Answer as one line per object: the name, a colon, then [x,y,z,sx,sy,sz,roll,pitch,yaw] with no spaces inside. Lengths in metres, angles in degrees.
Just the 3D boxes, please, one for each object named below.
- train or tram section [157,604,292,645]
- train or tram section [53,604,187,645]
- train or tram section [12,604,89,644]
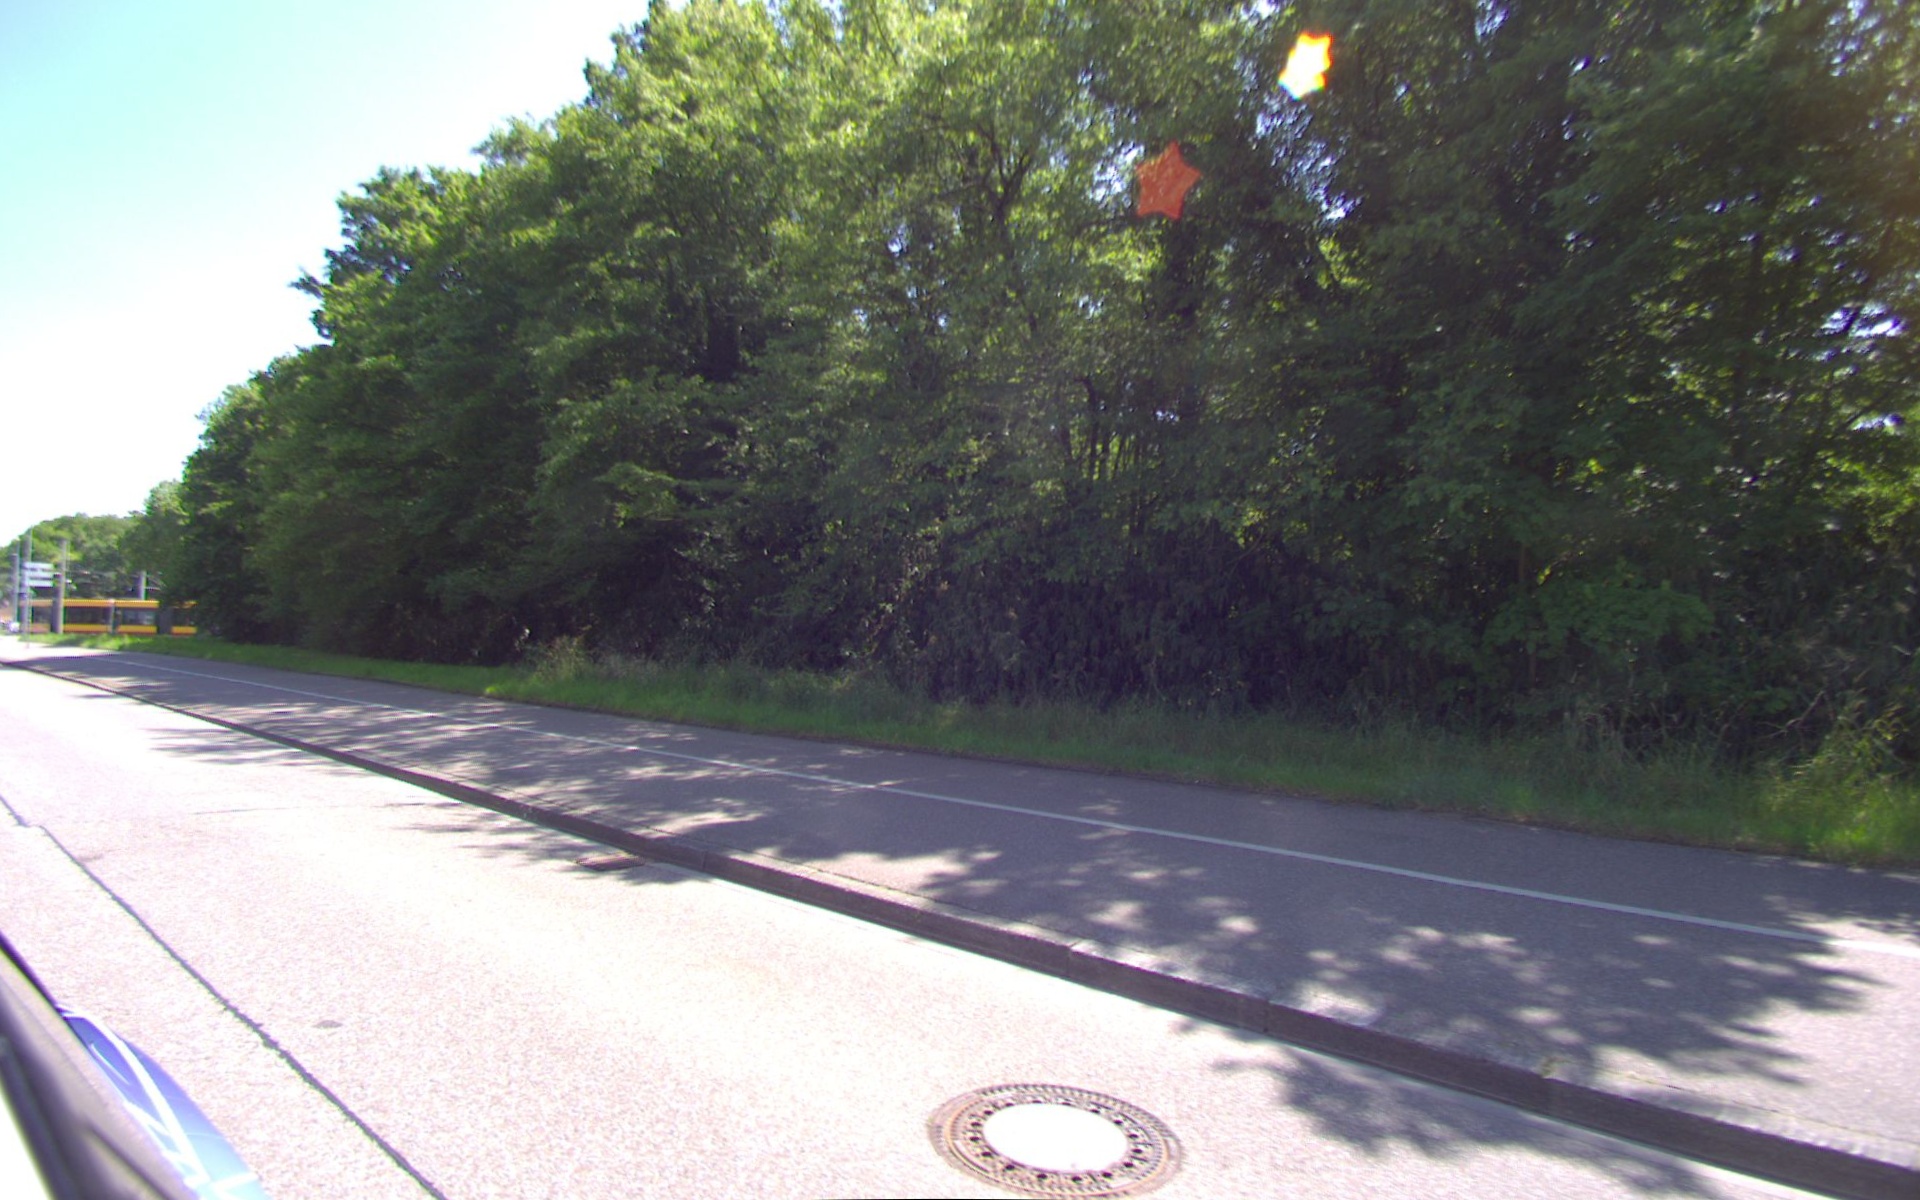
train or tram section: [-64.903,2.166,89.550,9.192,3.492,2.791,0,-2,-17]
train or tram section: [-73.890,2.149,89.055,10.730,3.492,2.644,0,-2,9]
train or tram section: [-83.485,2.232,92.797,10.824,3.492,2.550,-1,-2,34]
